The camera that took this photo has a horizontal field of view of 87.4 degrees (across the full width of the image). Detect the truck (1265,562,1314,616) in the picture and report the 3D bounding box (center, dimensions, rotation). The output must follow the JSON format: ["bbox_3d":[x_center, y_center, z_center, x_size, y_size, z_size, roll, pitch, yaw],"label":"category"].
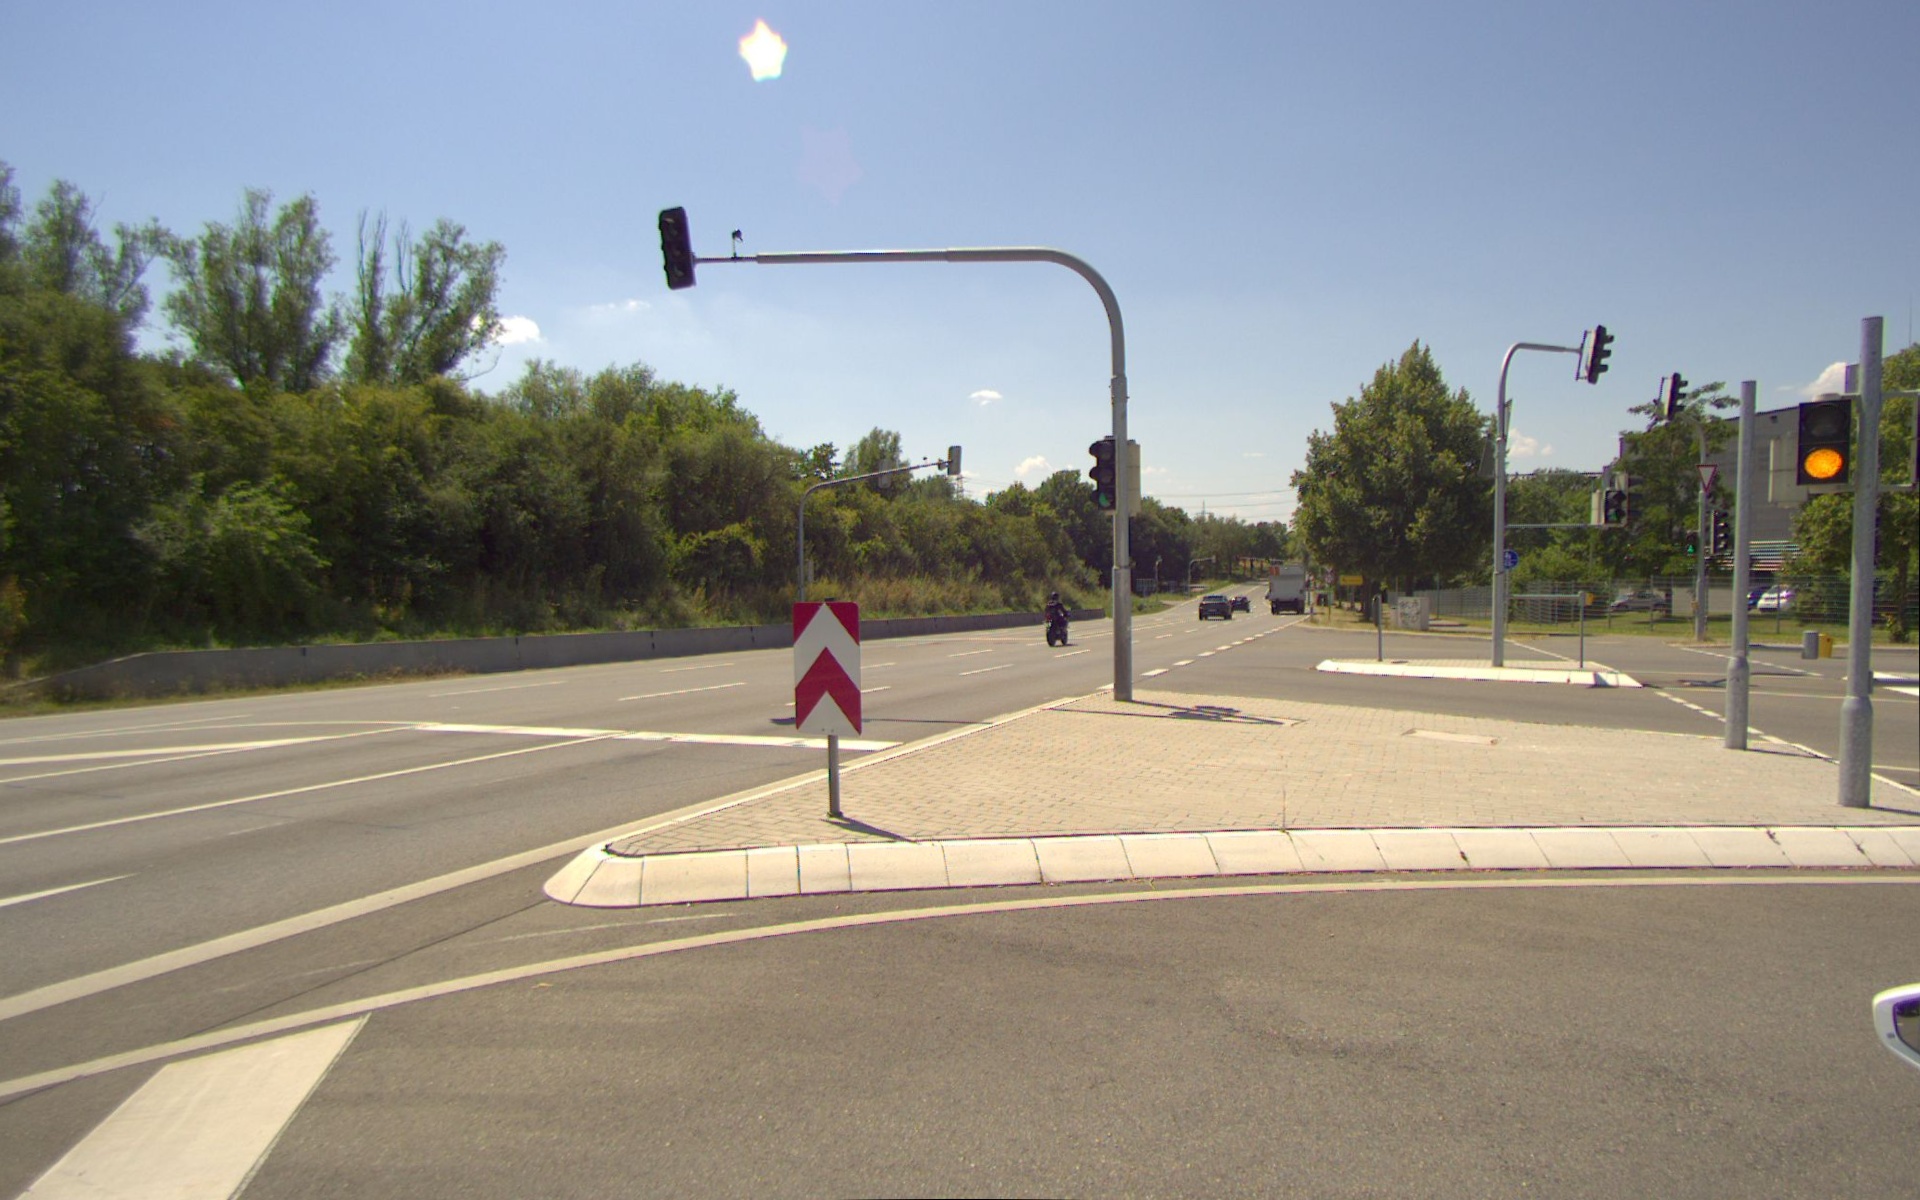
[{"bbox_3d":[25.312,-0.736,77.003,3.213,3.891,6.201,-1,-1,21],"label":"truck"}]

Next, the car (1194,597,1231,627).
[{"bbox_3d":[15.959,0.771,63.372,1.960,1.773,4.000,-1,-1,19],"label":"car"}]

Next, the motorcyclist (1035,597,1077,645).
[{"bbox_3d":[2.958,0.654,30.943,0.861,1.431,1.172,-1,-1,33],"label":"motorcyclist"}]

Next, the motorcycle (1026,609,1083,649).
[{"bbox_3d":[2.926,0.878,30.915,0.848,1.157,2.164,-1,0,33],"label":"motorcycle"}]

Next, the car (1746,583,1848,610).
[{"bbox_3d":[38.914,-0.157,46.719,3.566,1.180,1.614,0,-1,-6],"label":"car"}]

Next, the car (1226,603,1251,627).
[{"bbox_3d":[24.853,1.364,89.660,1.960,2.040,4.001,-1,-1,18],"label":"car"}]

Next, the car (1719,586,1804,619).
[{"bbox_3d":[50.690,0.165,63.588,3.925,2.040,1.998,0,-1,-6],"label":"car"}]
